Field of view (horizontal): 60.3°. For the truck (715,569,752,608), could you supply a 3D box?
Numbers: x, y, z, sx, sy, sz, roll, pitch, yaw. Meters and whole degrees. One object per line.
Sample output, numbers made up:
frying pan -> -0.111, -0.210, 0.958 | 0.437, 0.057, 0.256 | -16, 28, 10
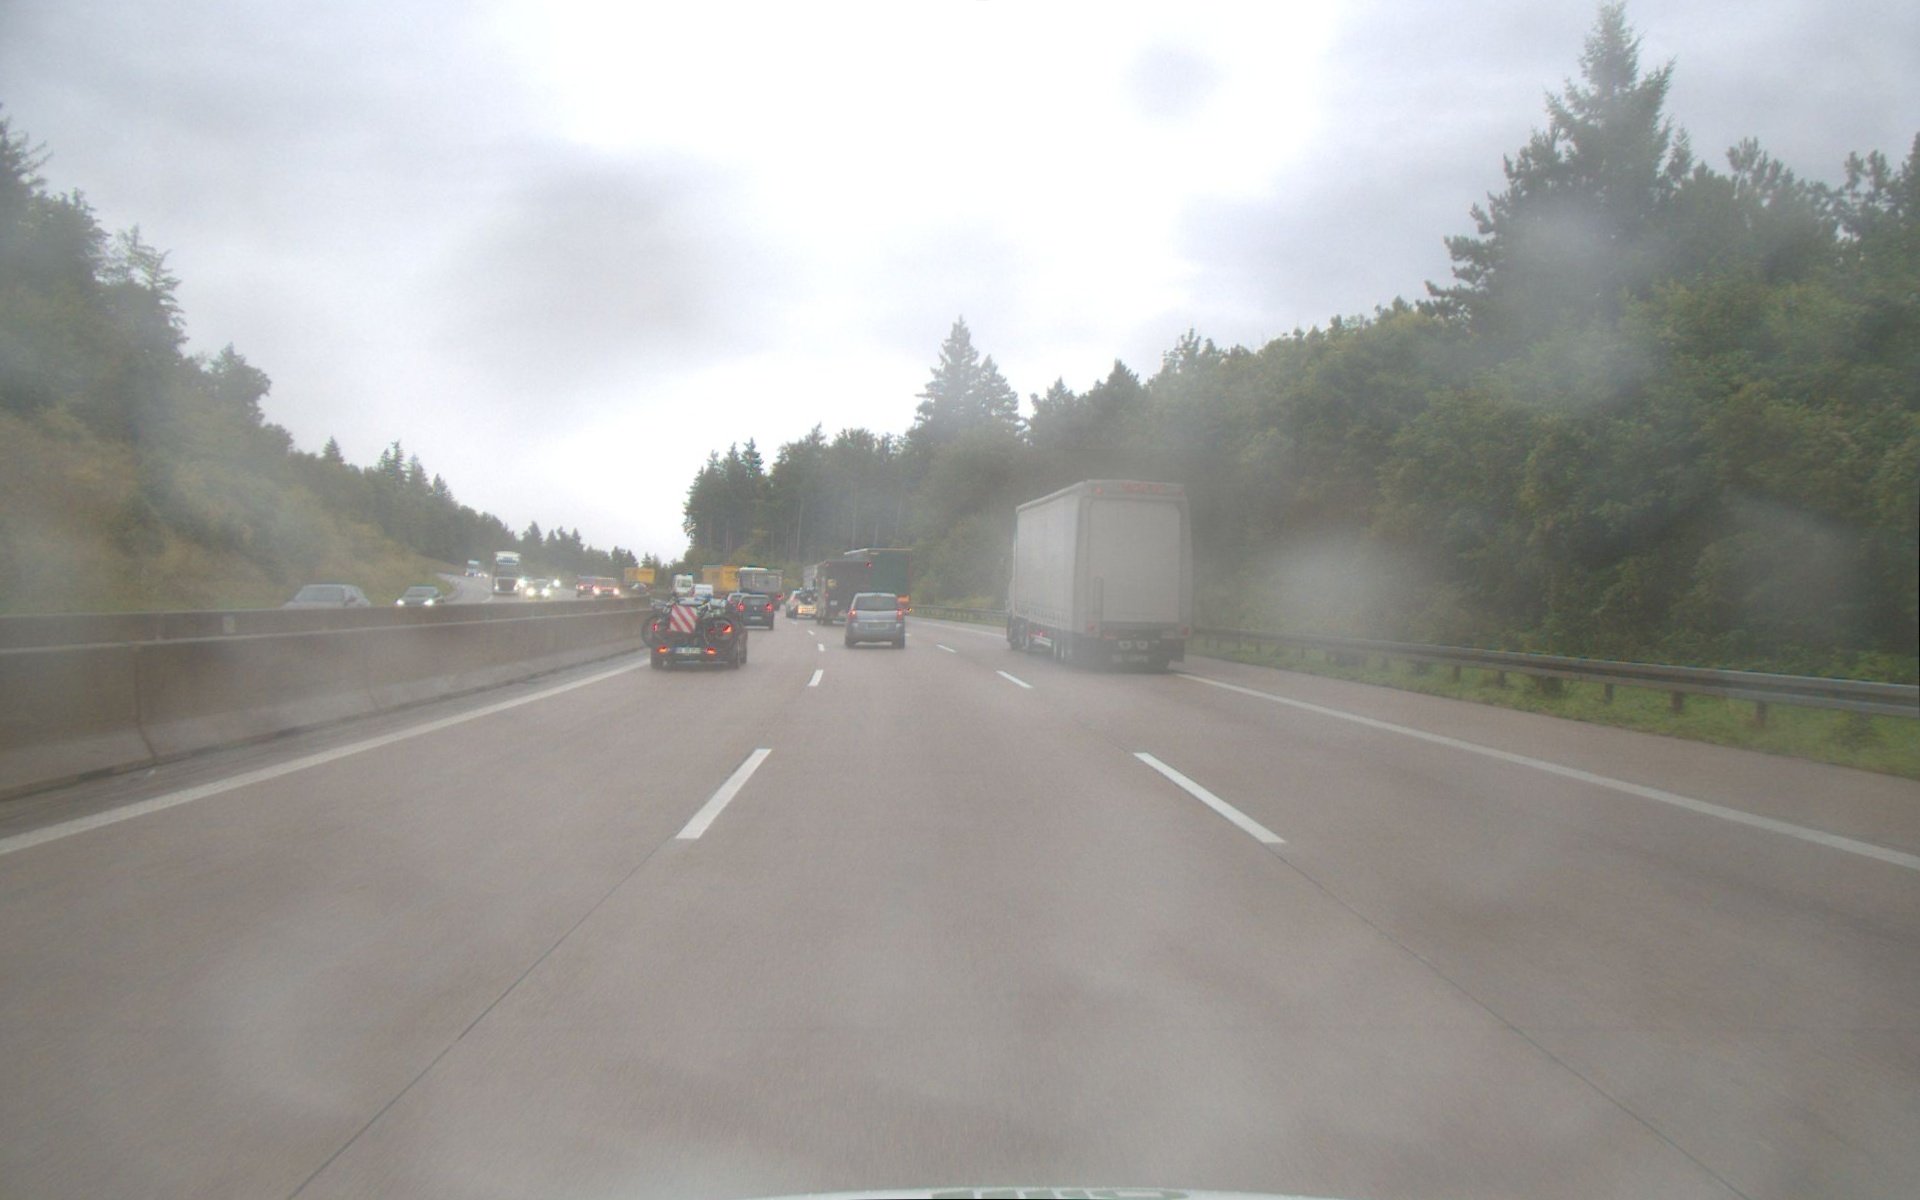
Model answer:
truck -> -25.884, -1.269, 188.471 | 3.675, 4.284, 6.796 | 0, -1, -12

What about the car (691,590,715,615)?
car -> -21.448, 0.230, 138.059 | 1.696, 2.049, 3.644 | 0, -1, -13

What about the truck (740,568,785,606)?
truck -> -15.962, -1.084, 133.322 | 3.028, 2.956, 7.882 | 0, 1, -11

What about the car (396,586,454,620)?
car -> -26.466, 0.148, 81.913 | 1.742, 1.667, 4.250 | 0, 0, -4

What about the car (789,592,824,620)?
car -> -8.974, 0.349, 96.793 | 1.844, 1.499, 3.997 | 2, 0, -3

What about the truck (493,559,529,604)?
truck -> -44.786, -1.832, 165.034 | 2.695, 4.359, 8.295 | 0, 0, -10

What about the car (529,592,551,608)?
car -> -37.171, -0.032, 146.519 | 1.592, 1.417, 3.991 | 0, 0, -10

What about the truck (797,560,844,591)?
truck -> -11.149, -1.947, 131.767 | 2.921, 2.350, 6.649 | 2, 0, -11

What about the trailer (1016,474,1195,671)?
trailer -> 3.282, -0.608, 40.911 | 2.372, 4.139, 12.042 | 0, 0, -5

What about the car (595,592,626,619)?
car -> -27.596, 0.432, 130.694 | 1.955, 2.119, 5.324 | 0, 0, -7

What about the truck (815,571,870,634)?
truck -> -5.902, 0.040, 82.098 | 2.227, 2.937, 7.890 | 0, 1, -8

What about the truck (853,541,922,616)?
truck -> -4.407, -1.219, 98.445 | 3.305, 4.204, 10.421 | 0, 0, -7

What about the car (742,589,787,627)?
car -> -8.321, 0.316, 70.463 | 1.650, 1.488, 3.681 | 2, 0, -4

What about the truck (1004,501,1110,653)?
truck -> 2.726, -0.633, 47.679 | 2.372, 4.139, 4.974 | 0, 0, -4

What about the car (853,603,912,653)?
car -> -2.294, 0.813, 49.730 | 1.522, 1.375, 3.684 | 2, 0, 0
